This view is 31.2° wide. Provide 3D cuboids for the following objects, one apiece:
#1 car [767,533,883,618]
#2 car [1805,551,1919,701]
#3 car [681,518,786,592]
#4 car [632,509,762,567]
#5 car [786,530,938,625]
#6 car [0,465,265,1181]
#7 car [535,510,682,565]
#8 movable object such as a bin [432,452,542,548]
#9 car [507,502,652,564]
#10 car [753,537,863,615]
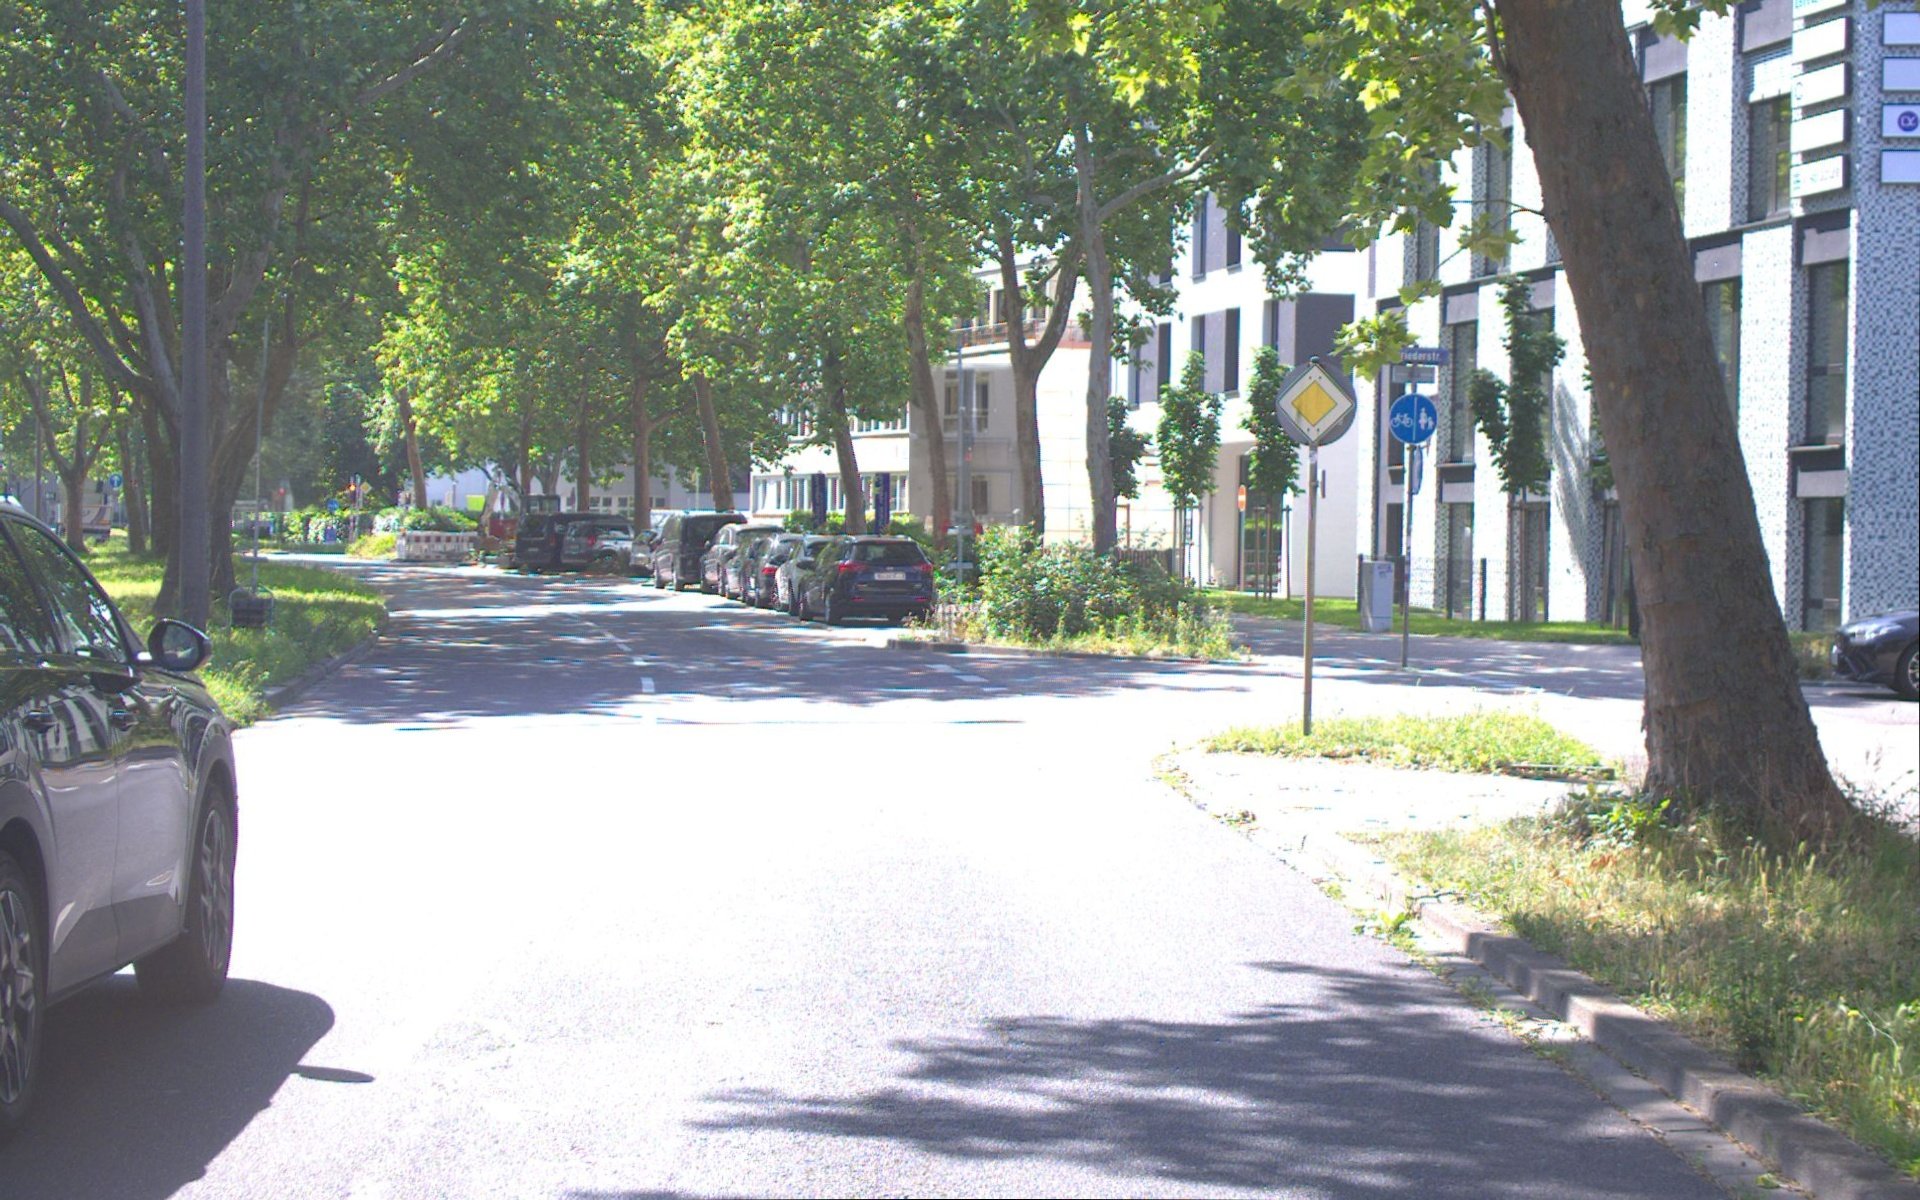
[{"bbox_3d":[-2.534,-0.476,63.772,1.706,1.482,4.102,1,1,-8],"label":"car"},{"bbox_3d":[11.226,0.310,36.327,4.249,1.512,1.999,2,1,9],"label":"car"},{"bbox_3d":[-5.330,-1.081,80.417,1.706,1.664,4.535,0,1,-13],"label":"car"},{"bbox_3d":[-7.738,-1.816,101.033,3.551,1.634,1.660,0,1,-16],"label":"car"},{"bbox_3d":[-1.691,-0.412,57.736,1.706,1.482,4.720,0,2,-12],"label":"car"},{"bbox_3d":[-3.254,0.508,9.602,1.872,1.690,4.436,0,1,-2],"label":"car"},{"bbox_3d":[-10.762,-1.918,105.284,4.099,1.627,1.712,0,1,-29],"label":"car"},{"bbox_3d":[-16.313,-3.443,118.567,2.328,3.230,3.430,0,2,-38],"label":"movable object such as a bin"},{"bbox_3d":[-11.820,-2.074,106.902,4.099,1.873,1.785,0,1,-30],"label":"car"},{"bbox_3d":[-3.043,-0.508,68.168,1.706,1.450,4.657,1,1,-8],"label":"car"}]
